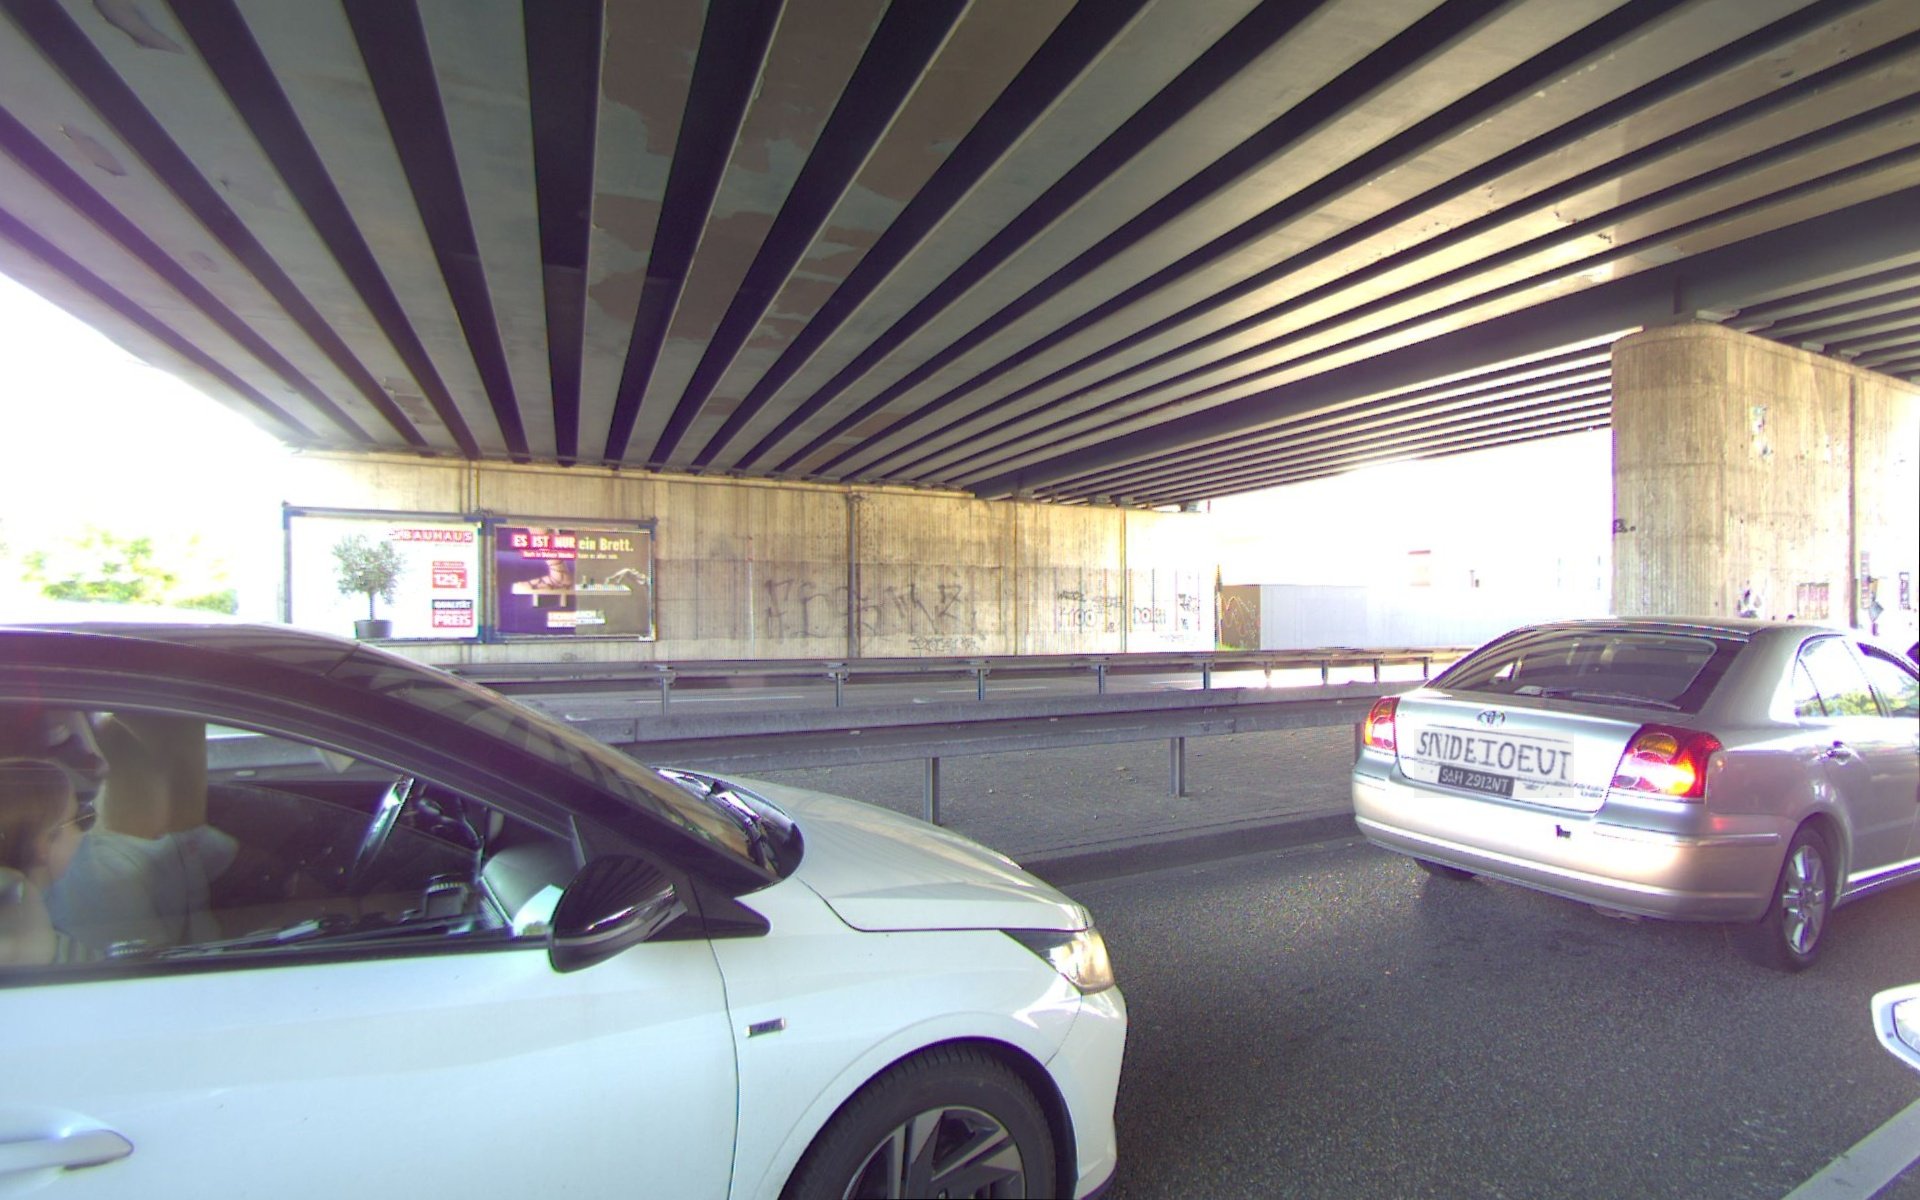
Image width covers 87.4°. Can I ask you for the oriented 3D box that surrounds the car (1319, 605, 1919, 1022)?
[{"bbox_3d":[4.107,0.807,5.459,4.347,1.474,1.688,1,0,-31],"label":"car"}]

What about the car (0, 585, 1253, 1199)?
[{"bbox_3d":[-1.419,0.724,1.992,3.829,1.423,1.722,2,1,-33],"label":"car"}]

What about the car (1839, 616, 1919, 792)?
[{"bbox_3d":[9.642,0.894,8.899,3.768,1.429,1.684,1,0,-30],"label":"car"}]
